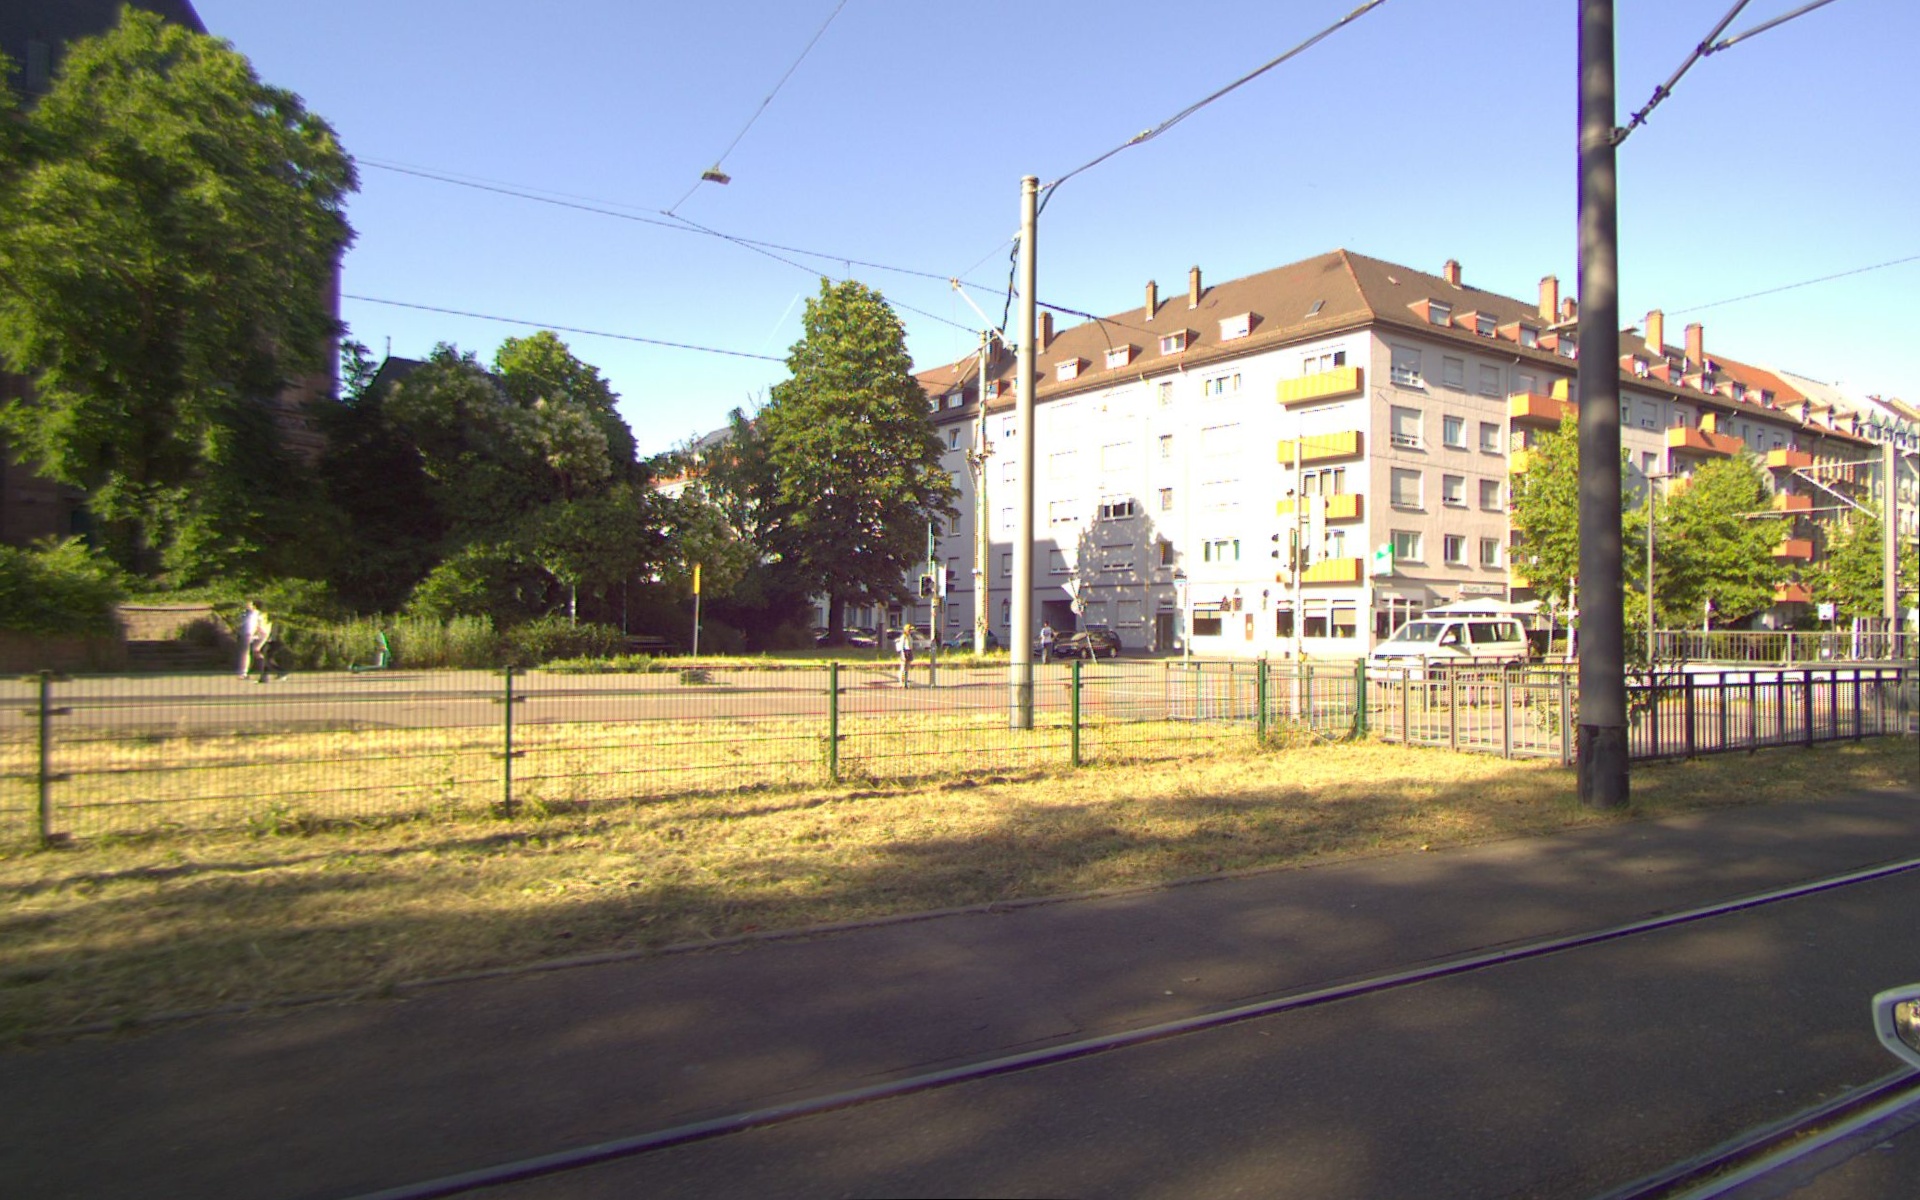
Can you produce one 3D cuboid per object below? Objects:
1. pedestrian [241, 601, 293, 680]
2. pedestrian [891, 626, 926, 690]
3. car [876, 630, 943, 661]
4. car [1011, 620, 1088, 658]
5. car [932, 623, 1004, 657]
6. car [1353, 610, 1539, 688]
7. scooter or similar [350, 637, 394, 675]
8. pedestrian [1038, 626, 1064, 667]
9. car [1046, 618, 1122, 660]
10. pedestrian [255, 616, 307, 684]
[{"bbox_3d":[-16.362,0.946,23.743,0.936,1.808,0.582,2,1,-33],"label":"pedestrian"},{"bbox_3d":[-1.416,1.588,27.649,0.750,1.695,0.488,1,1,-45],"label":"pedestrian"},{"bbox_3d":[-2.665,2.337,52.349,1.684,1.439,3.634,2,0,-38],"label":"car"},{"bbox_3d":[4.894,2.113,54.907,3.971,1.884,1.975,2,1,-42],"label":"car"},{"bbox_3d":[0.492,2.370,60.045,3.971,1.884,1.975,2,1,-42],"label":"car"},{"bbox_3d":[13.715,1.427,28.338,4.942,2.039,1.989,2,-4,-24],"label":"car"},{"bbox_3d":[-15.243,1.447,26.054,0.304,0.948,0.916,3,1,39],"label":"scooter or similar"},{"bbox_3d":[3.615,1.841,39.804,0.719,1.577,0.654,2,1,-30],"label":"pedestrian"},{"bbox_3d":[6.585,2.031,53.035,3.953,2.040,1.802,2,1,-42],"label":"car"},{"bbox_3d":[-15.606,1.135,23.116,0.936,1.509,0.582,2,1,-33],"label":"pedestrian"}]
